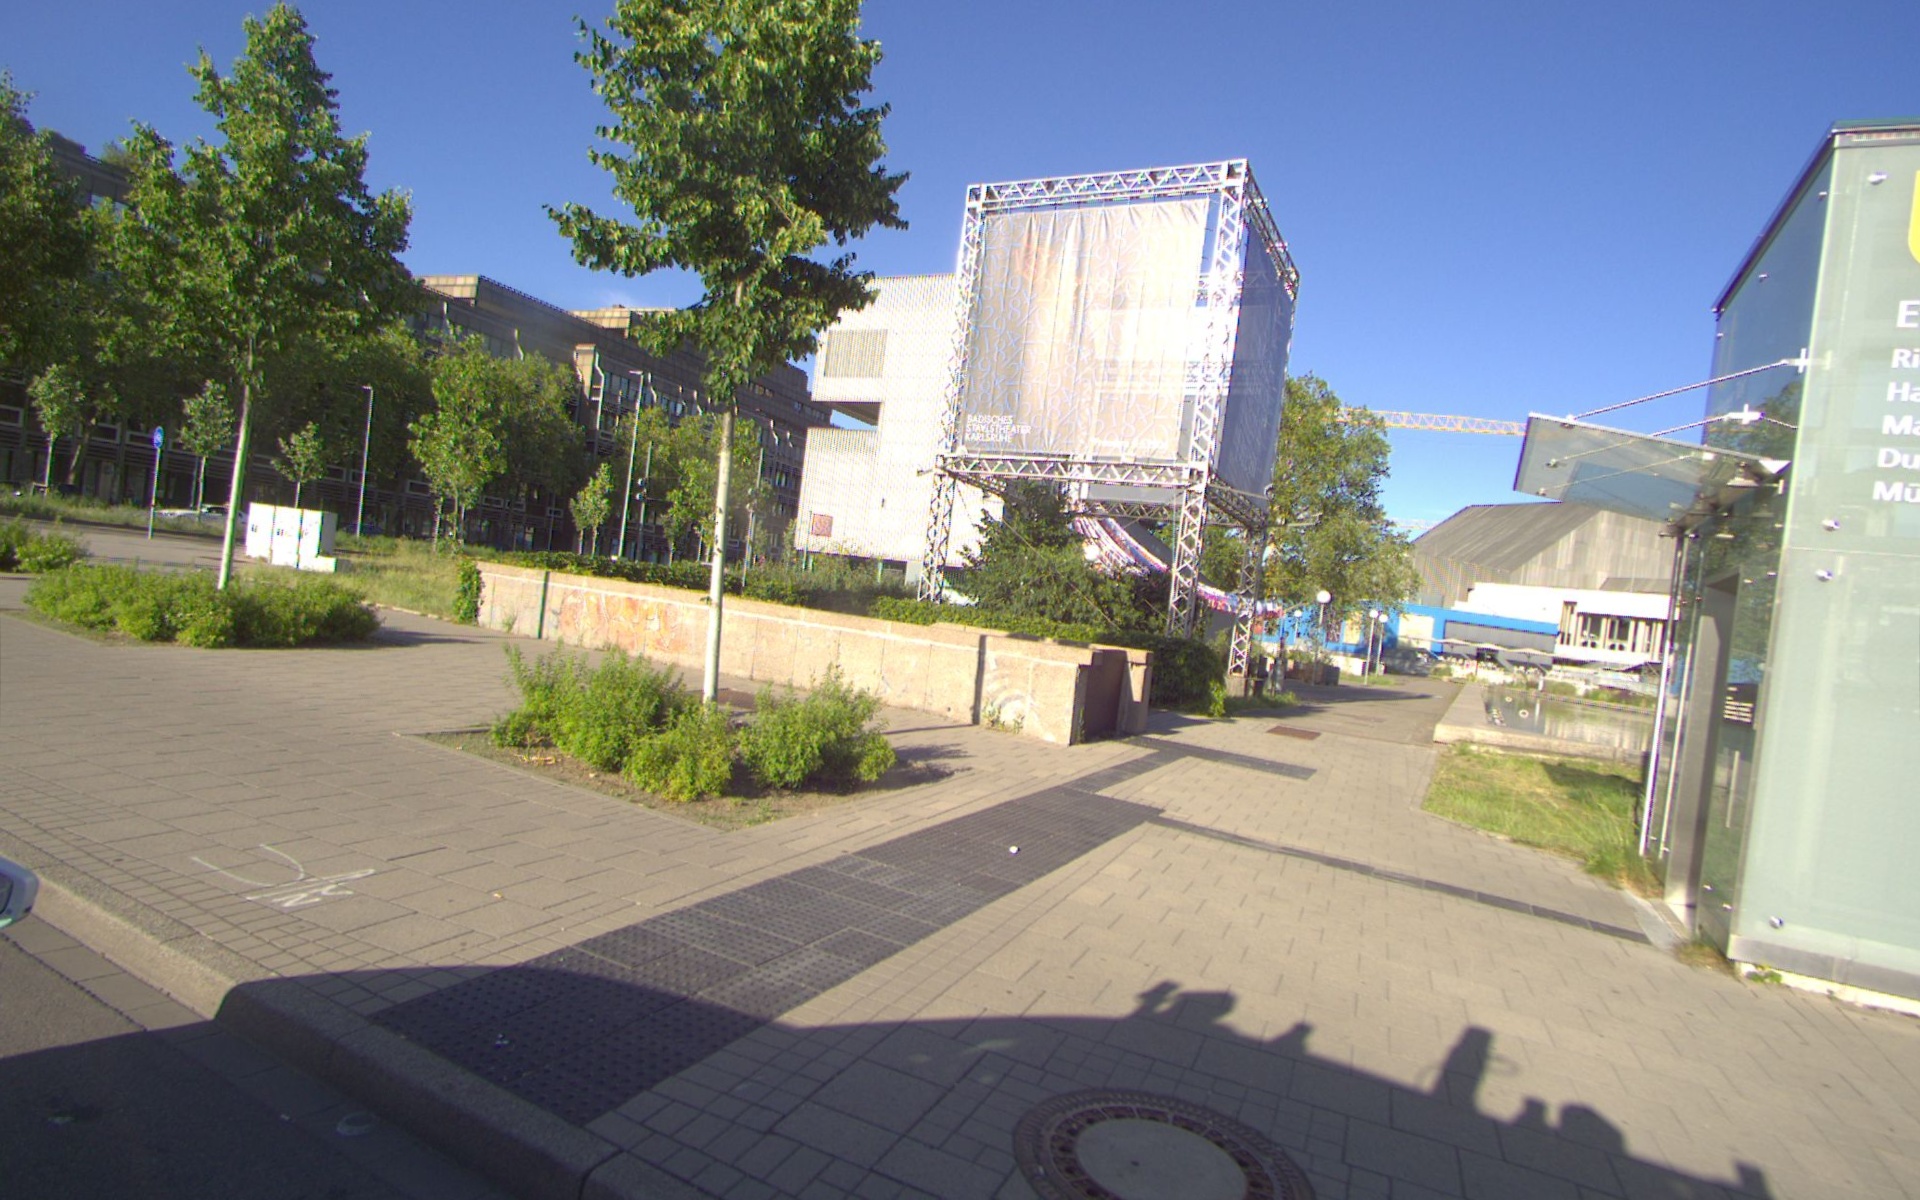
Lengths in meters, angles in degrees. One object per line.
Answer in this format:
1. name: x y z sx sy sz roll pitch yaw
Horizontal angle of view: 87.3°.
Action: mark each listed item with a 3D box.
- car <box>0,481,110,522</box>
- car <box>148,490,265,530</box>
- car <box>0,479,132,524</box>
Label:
1. car: -46.768 -5.062 51.407 1.964 1.373 4.642 9 0 25
2. car: -41.049 -4.865 54.903 1.964 1.373 4.642 9 0 25
3. car: -43.871 -4.796 49.306 1.964 1.373 4.642 9 0 25
